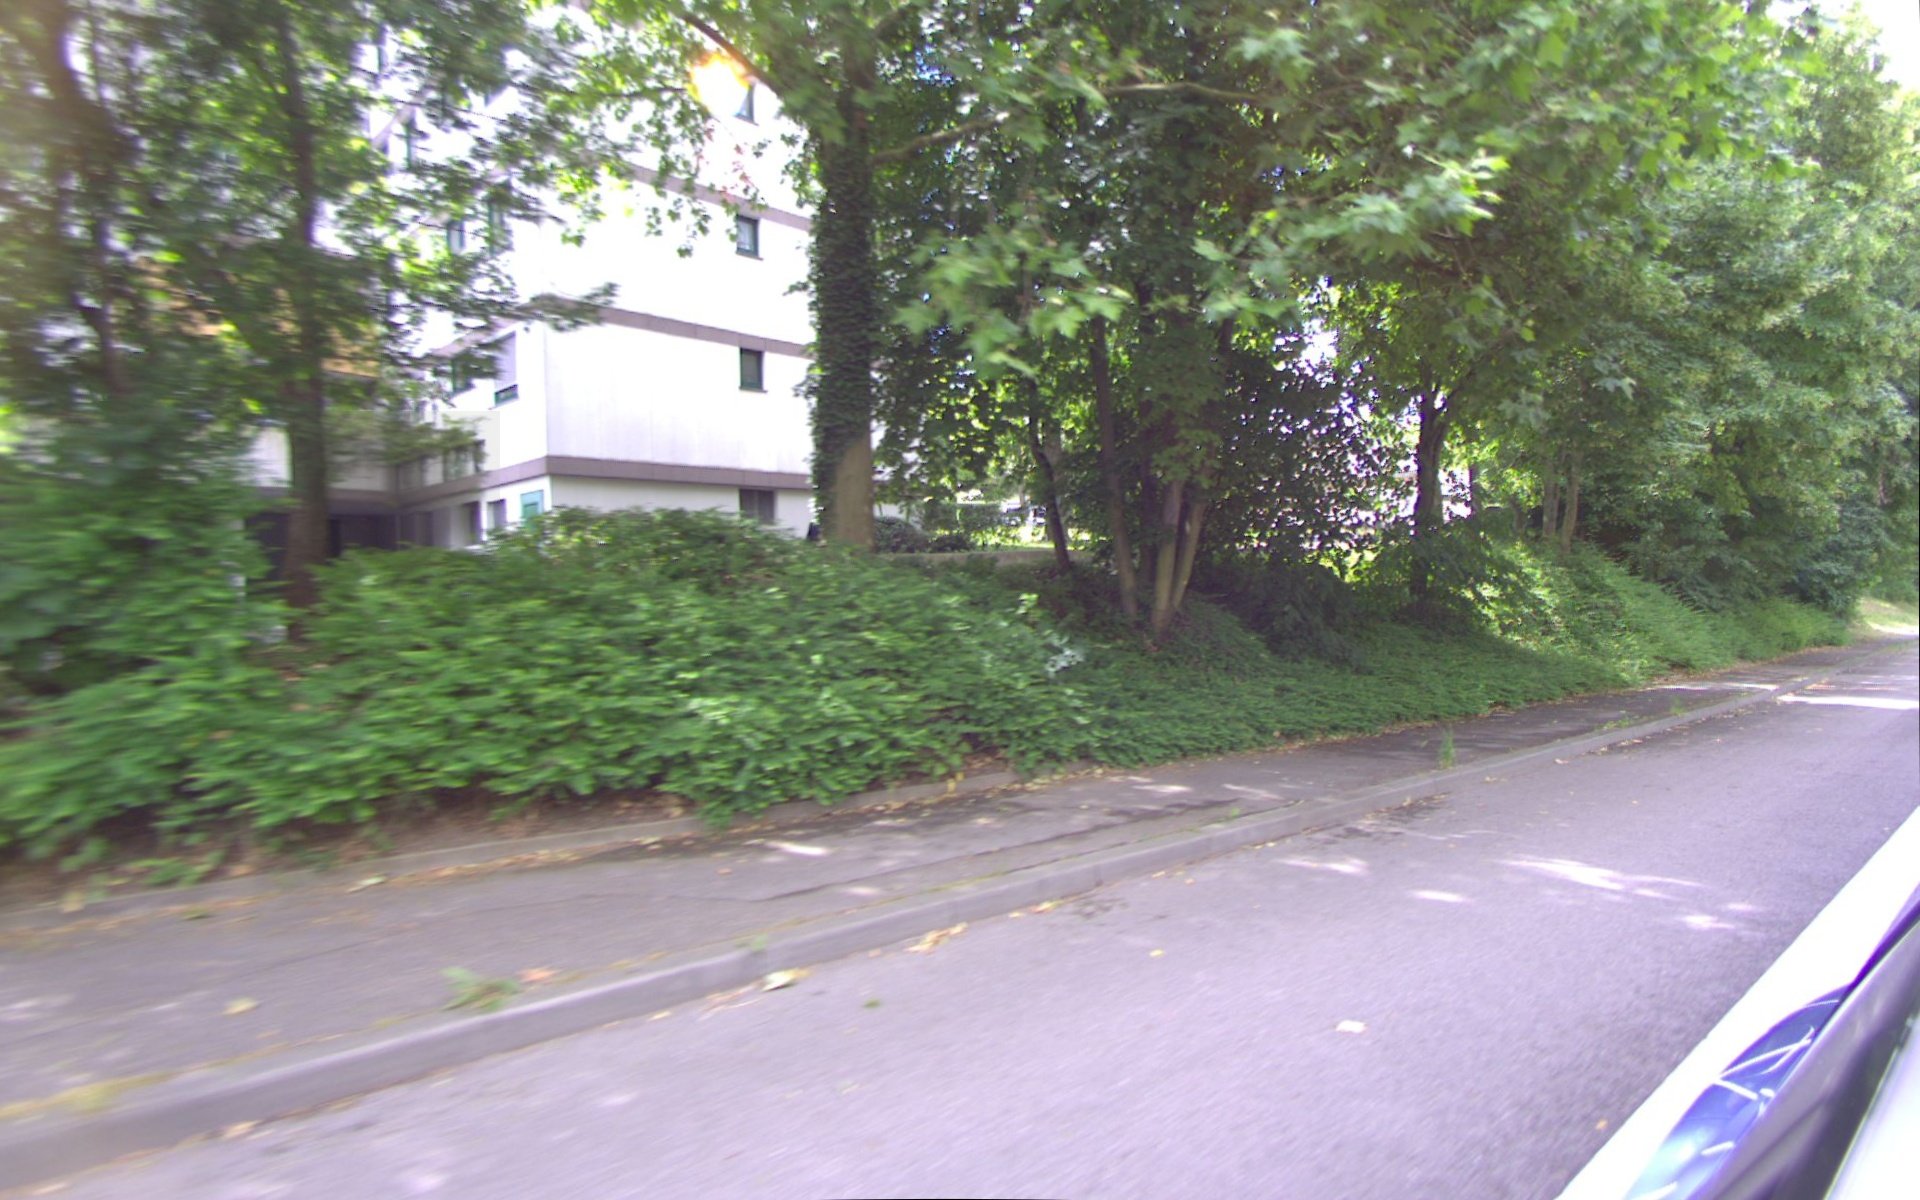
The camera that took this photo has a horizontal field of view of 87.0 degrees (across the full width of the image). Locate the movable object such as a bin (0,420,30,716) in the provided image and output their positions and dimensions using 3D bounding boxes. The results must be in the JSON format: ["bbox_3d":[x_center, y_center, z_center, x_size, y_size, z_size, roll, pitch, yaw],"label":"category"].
[{"bbox_3d":[-5.356,-0.163,5.149,0.857,1.497,0.666,0,0,-38],"label":"movable object such as a bin"}]

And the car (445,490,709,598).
[{"bbox_3d":[-5.883,-0.795,15.696,3.485,1.478,1.661,0,1,-40],"label":"car"}]

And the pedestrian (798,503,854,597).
[{"bbox_3d":[-2.428,-0.879,18.287,0.754,1.653,0.669,0,0,-41],"label":"pedestrian"}]
